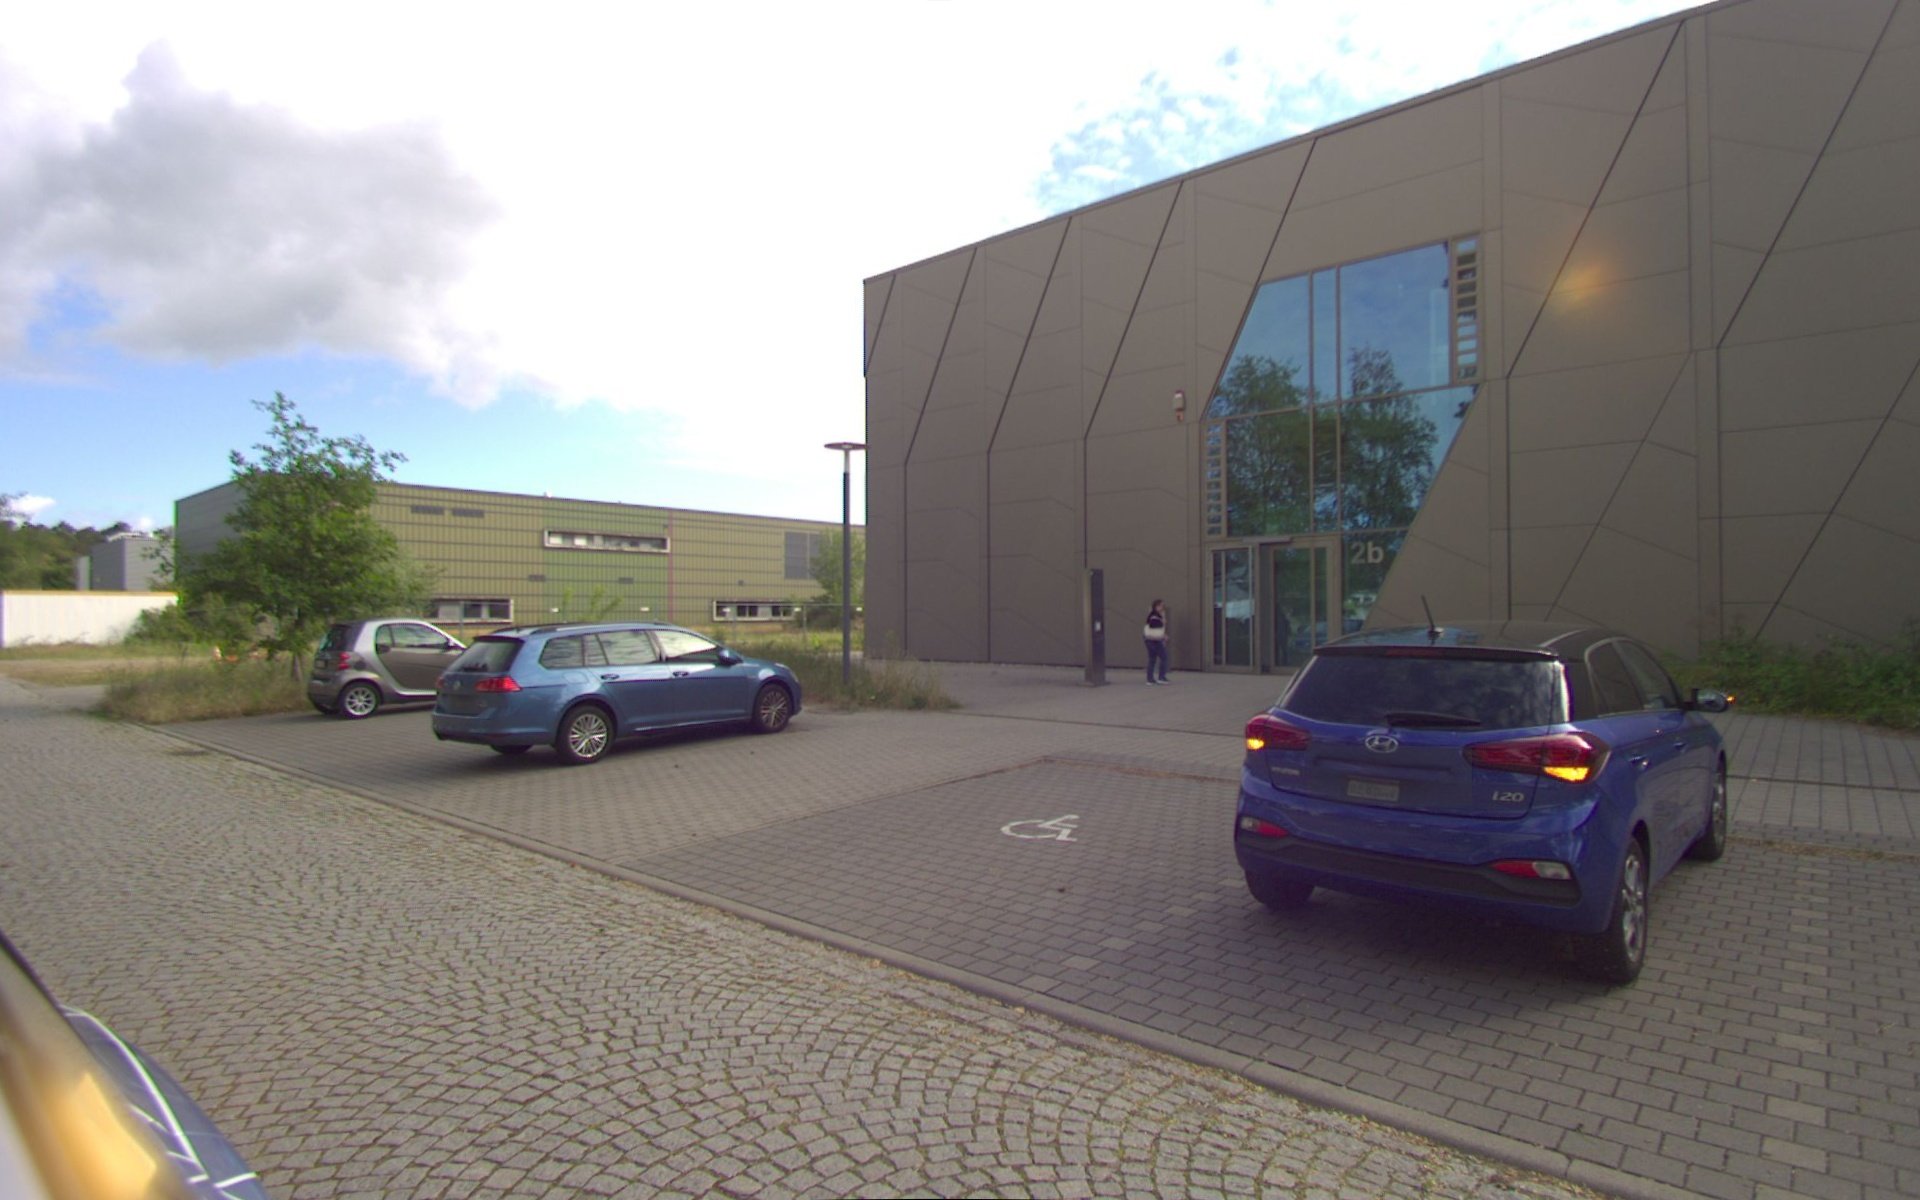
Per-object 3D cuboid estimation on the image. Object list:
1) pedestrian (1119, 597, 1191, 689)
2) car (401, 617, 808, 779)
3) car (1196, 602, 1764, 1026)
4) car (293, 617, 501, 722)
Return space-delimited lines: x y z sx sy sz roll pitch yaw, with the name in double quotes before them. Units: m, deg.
"pedestrian" 3.397 0.726 17.594 0.818 1.506 0.973 -1 1 41
"car" -3.969 0.990 11.958 1.771 1.439 4.265 -2 0 38
"car" 3.127 0.805 5.705 1.852 1.489 3.724 -2 0 44
"car" -9.348 1.092 16.898 1.609 1.522 2.627 -2 0 40
